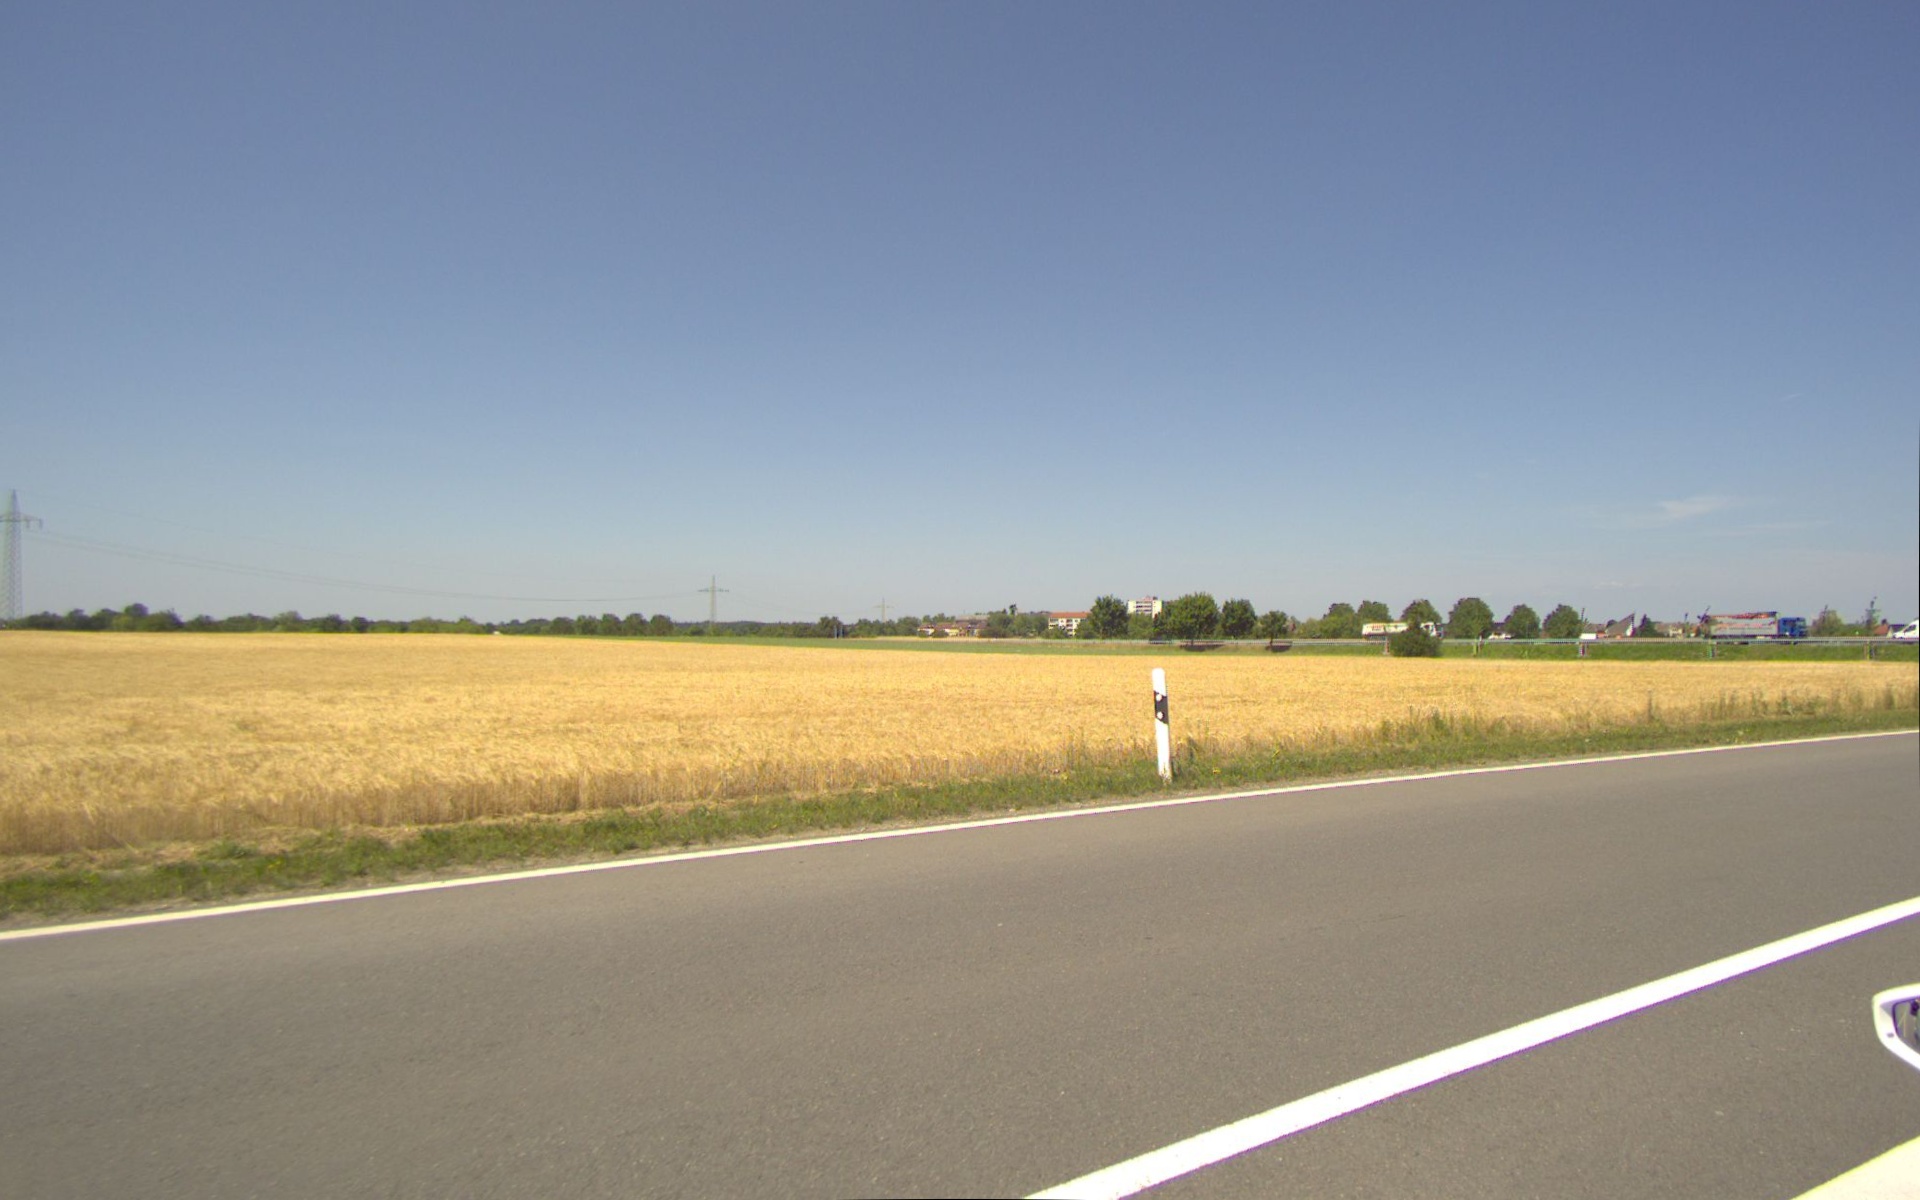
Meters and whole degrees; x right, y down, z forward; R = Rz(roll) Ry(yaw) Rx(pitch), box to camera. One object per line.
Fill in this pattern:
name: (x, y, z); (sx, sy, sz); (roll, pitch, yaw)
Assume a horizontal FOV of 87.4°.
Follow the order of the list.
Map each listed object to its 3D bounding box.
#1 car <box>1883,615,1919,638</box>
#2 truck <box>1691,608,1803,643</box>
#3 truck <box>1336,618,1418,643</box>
car: (100.945, 2.784, 105.211); (2.219, 2.454, 5.896); (1, -1, -27)
truck: (90.663, 2.926, 115.968); (2.596, 3.844, 10.029); (1, -1, -31)
truck: (64.670, 4.733, 156.088); (2.958, 3.662, 11.891); (1, -1, -39)
